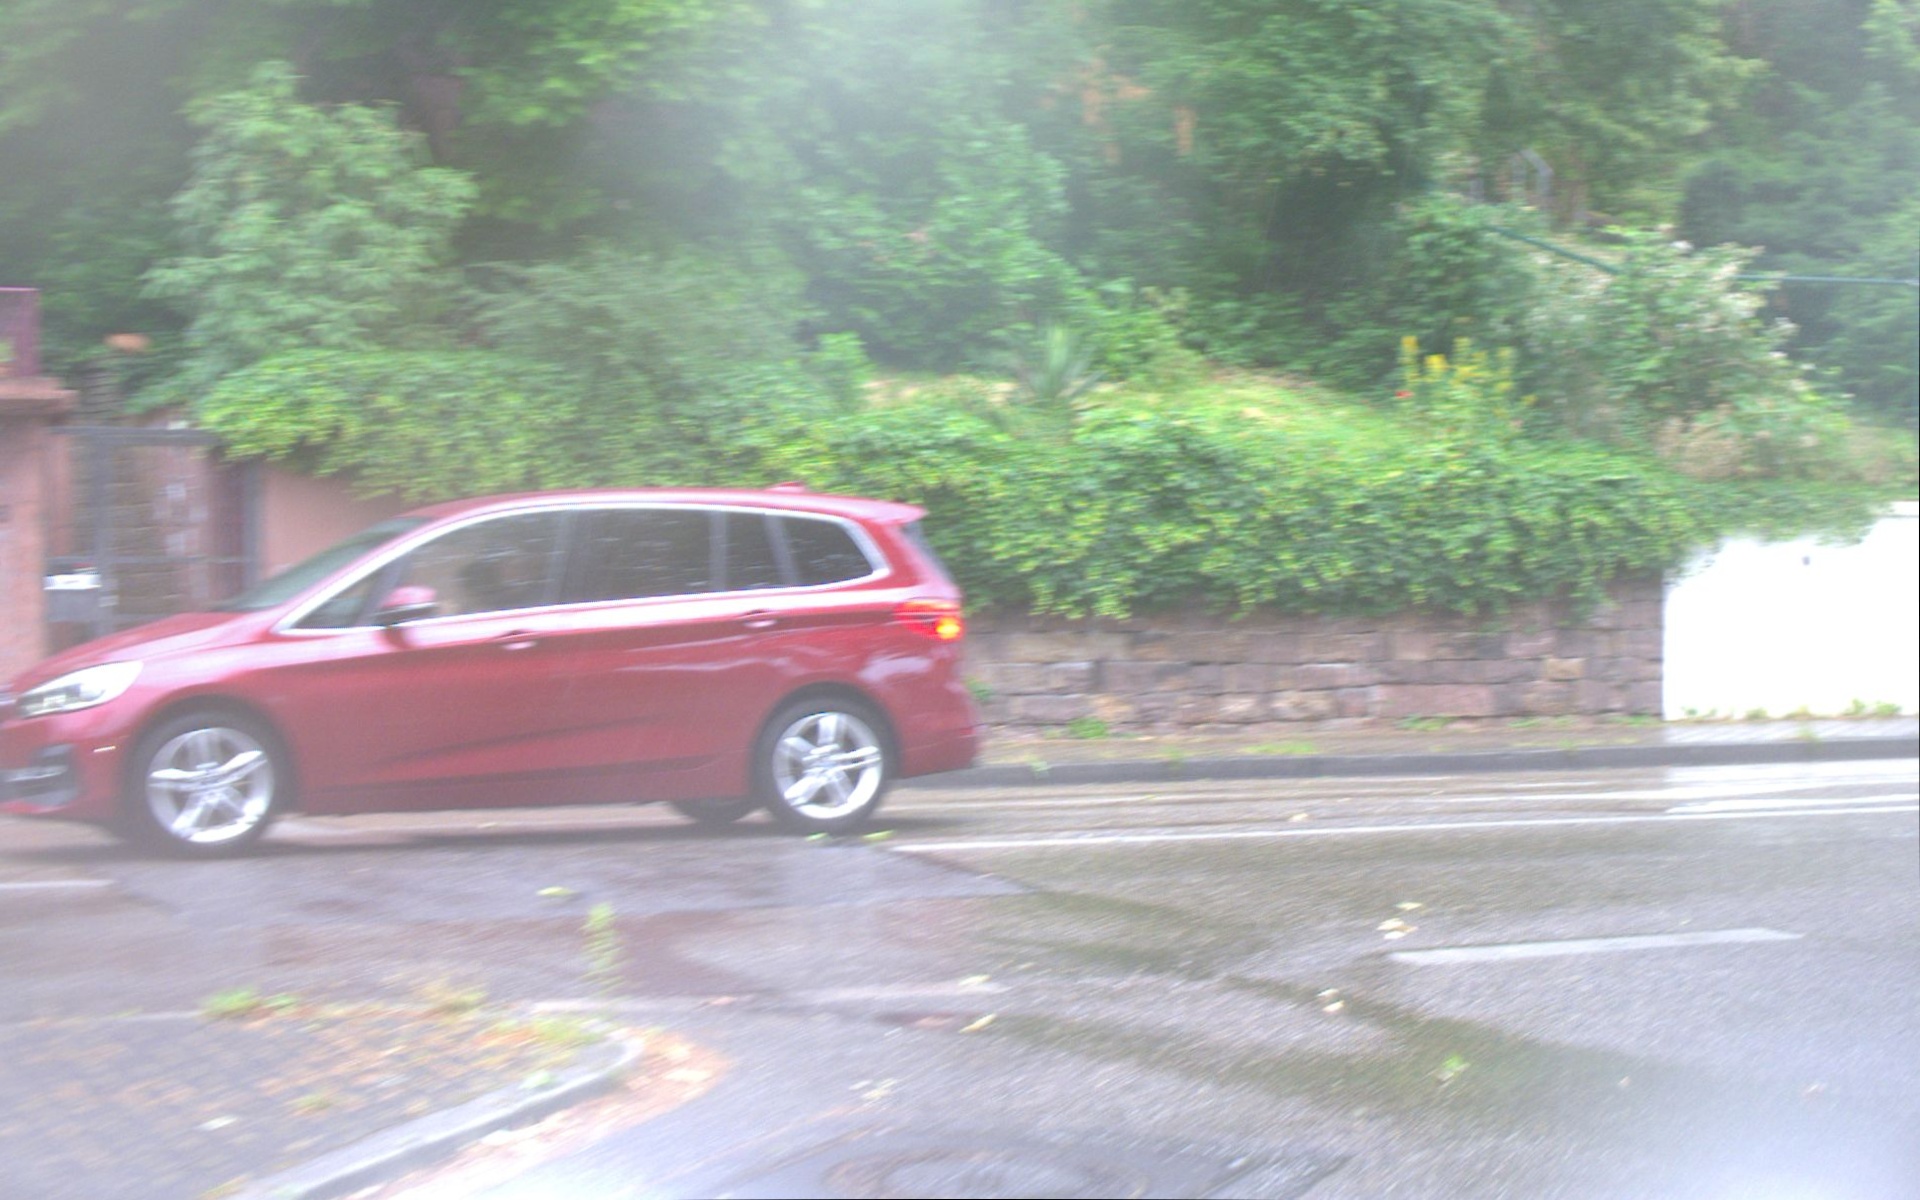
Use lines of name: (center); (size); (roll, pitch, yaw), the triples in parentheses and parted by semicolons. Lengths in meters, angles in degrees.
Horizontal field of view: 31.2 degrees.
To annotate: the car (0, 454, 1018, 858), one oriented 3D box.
car: (-2.204, 0.199, 15.644); (4.567, 1.595, 1.775); (-2, 0, -22)
